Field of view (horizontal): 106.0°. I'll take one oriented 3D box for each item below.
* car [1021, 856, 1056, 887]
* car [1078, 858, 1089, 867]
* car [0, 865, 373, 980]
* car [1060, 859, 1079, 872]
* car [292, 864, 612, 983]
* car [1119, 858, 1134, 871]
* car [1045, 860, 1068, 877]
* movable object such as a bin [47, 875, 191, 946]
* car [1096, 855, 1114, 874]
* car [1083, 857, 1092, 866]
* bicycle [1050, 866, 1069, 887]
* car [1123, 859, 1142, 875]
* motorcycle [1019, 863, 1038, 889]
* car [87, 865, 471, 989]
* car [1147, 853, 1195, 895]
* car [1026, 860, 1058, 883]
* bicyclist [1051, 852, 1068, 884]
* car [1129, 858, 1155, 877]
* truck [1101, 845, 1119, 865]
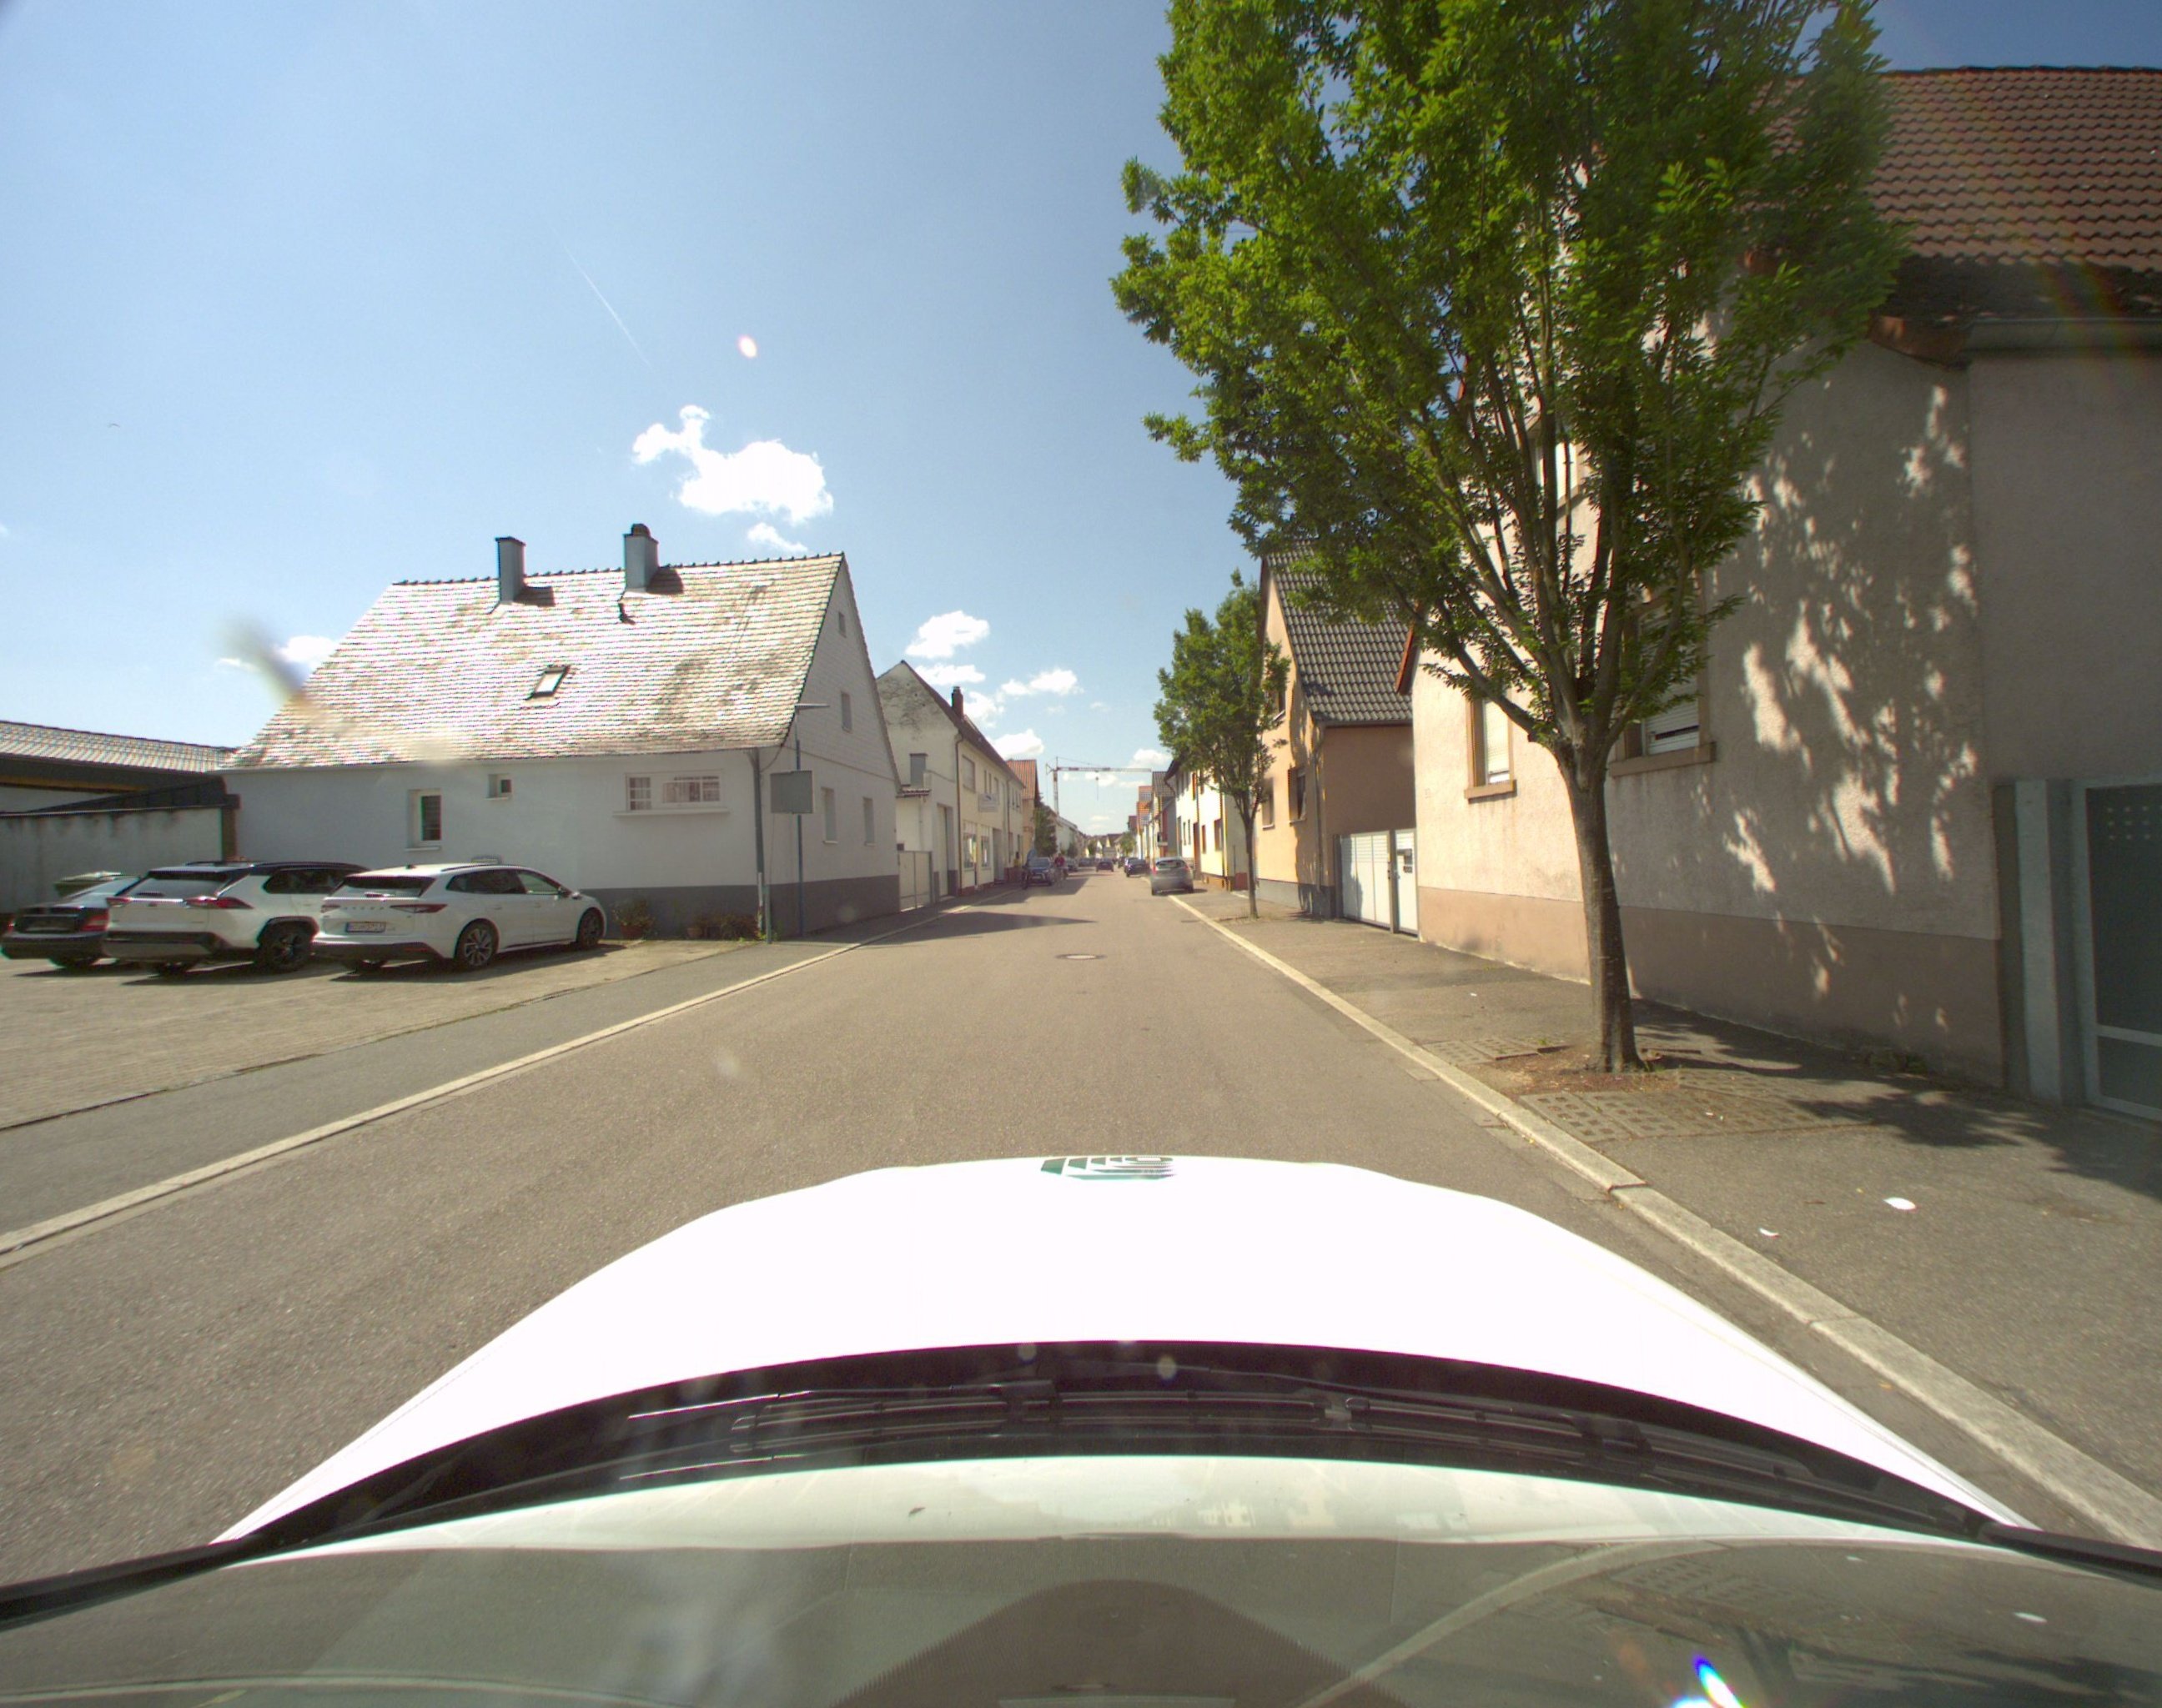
[{"bbox_3d":[-2.456,0.987,47.847,1.711,1.639,4.149,-4,0,1],"label":"car"},{"bbox_3d":[0.382,1.446,142.639,1.752,1.525,4.290,-2,0,1],"label":"car"},{"bbox_3d":[-15.002,1.017,13.931,1.767,1.570,4.480,-1,0,1],"label":"car"},{"bbox_3d":[-1.332,1.289,93.268,1.760,1.460,4.440,-2,0,4],"label":"car"},{"bbox_3d":[-9.927,0.981,13.423,1.768,1.570,4.478,-1,0,0],"label":"car"},{"bbox_3d":[6.113,1.427,110.755,1.723,1.717,4.275,-2,0,0],"label":"car"},{"bbox_3d":[-2.159,1.270,72.831,1.755,1.374,4.067,-1,0,1],"label":"car"},{"bbox_3d":[-18.845,1.087,15.991,1.382,1.300,1.212,-1,0,3],"label":"movable object such as a bin"},{"bbox_3d":[2.442,1.087,84.359,1.776,1.753,4.000,-3,-1,1],"label":"car"},{"bbox_3d":[1.212,1.412,149.886,1.647,1.609,4.062,-2,0,1],"label":"car"},{"bbox_3d":[-1.094,1.179,42.524,0.739,1.047,1.943,-1,0,5],"label":"bicycle"},{"bbox_3d":[4.960,1.212,78.323,1.682,1.422,3.658,-2,0,2],"label":"car"},{"bbox_3d":[-2.778,1.153,43.253,0.805,1.312,2.106,-2,0,1],"label":"motorcycle"},{"bbox_3d":[-12.566,1.016,13.297,1.767,1.619,4.480,-1,0,1],"label":"car"},{"bbox_3d":[3.673,0.758,33.227,1.713,1.481,3.755,-5,-1,6],"label":"car"},{"bbox_3d":[-2.558,1.134,53.976,1.691,1.411,4.392,-2,0,2],"label":"car"},{"bbox_3d":[-1.114,0.707,42.437,0.743,1.637,0.958,-1,0,5],"label":"bicyclist"},{"bbox_3d":[4.548,0.991,61.519,1.808,1.276,4.149,-2,0,2],"label":"car"},{"bbox_3d":[6.062,0.322,172.144,3.367,3.865,13.925,-3,-1,1],"label":"truck"}]
